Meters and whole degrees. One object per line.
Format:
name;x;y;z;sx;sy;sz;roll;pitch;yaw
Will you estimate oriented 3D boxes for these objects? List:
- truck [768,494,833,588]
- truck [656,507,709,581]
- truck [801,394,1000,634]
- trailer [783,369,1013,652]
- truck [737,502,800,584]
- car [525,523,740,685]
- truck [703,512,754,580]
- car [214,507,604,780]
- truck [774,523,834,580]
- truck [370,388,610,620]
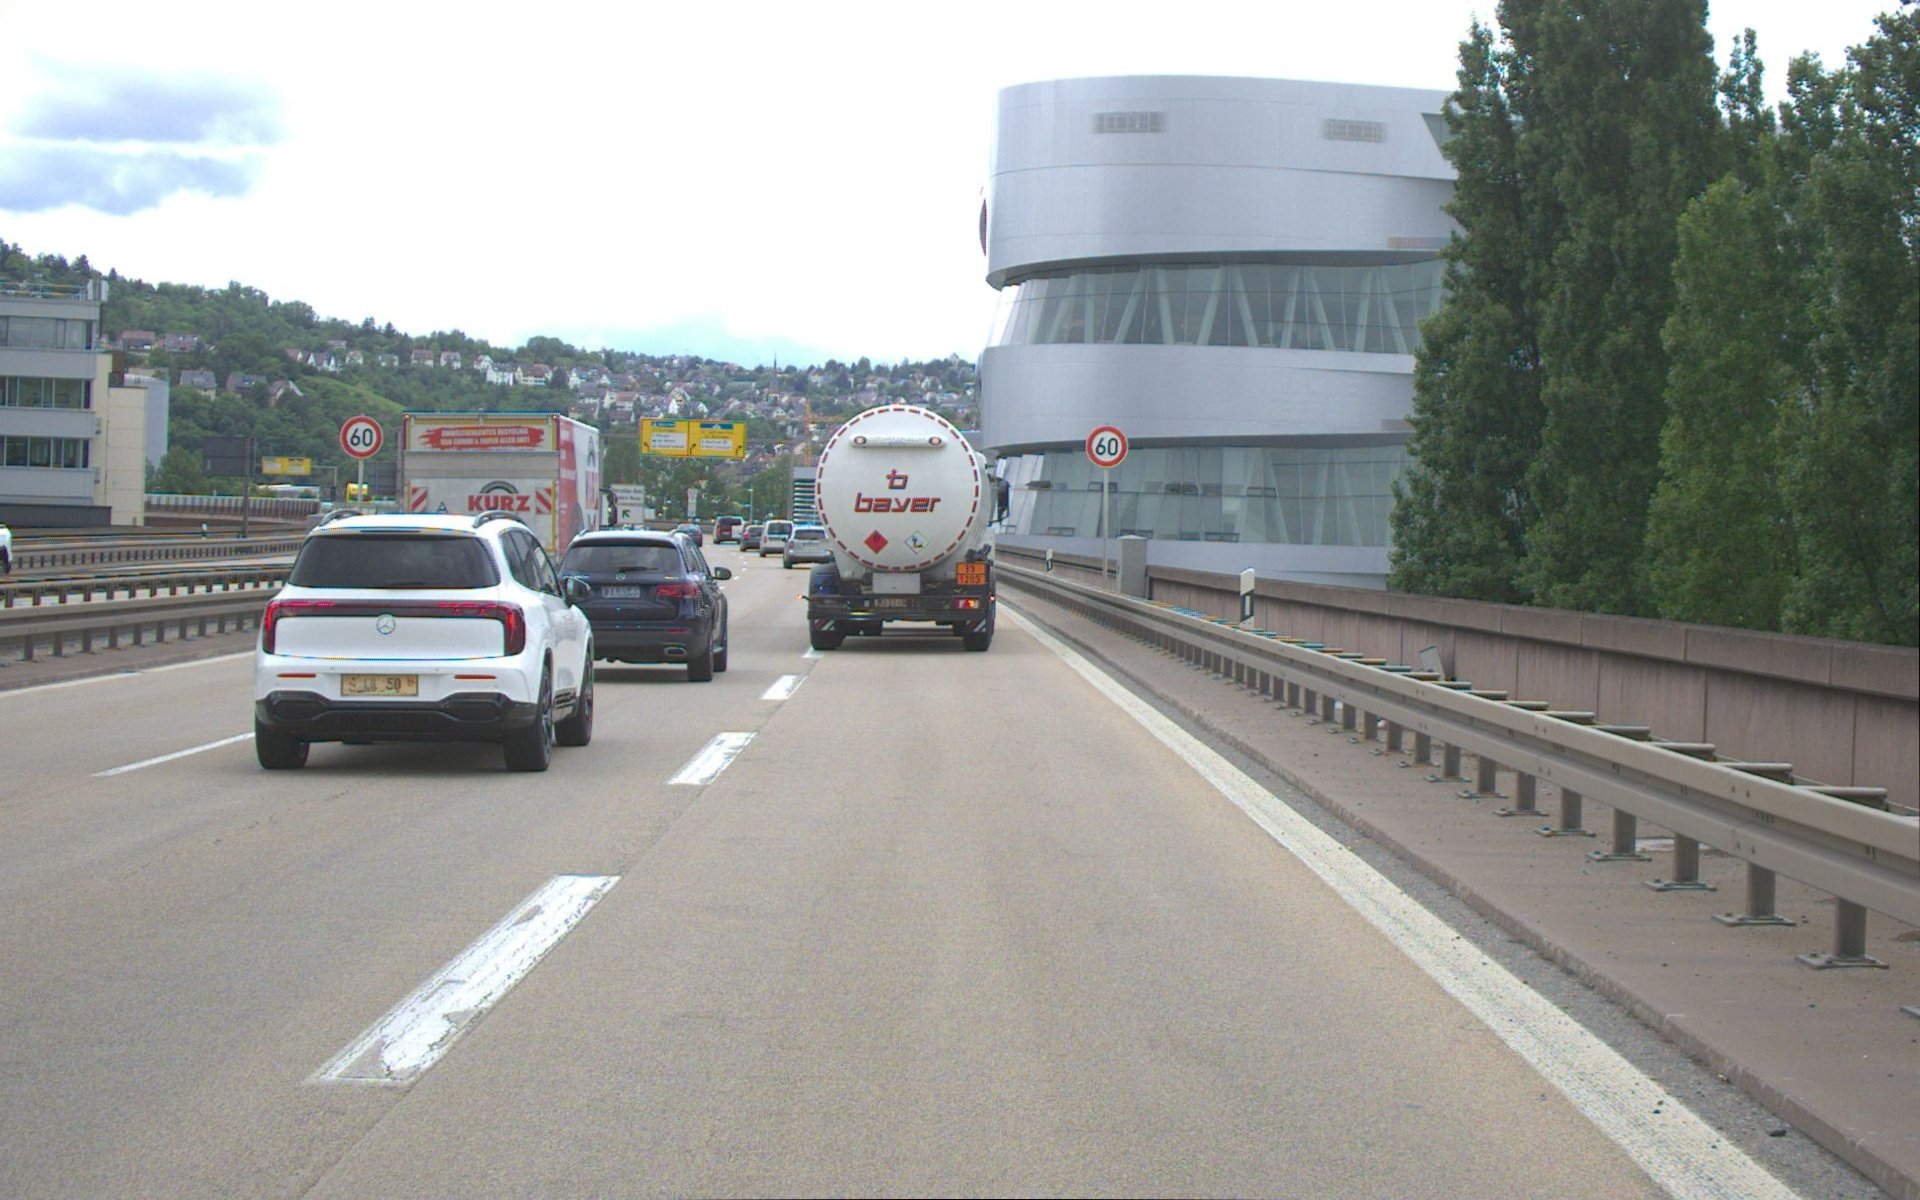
truck;-7.907;-2.925;171.221;3.057;4.546;8.304;1;1;-2
truck;-17.517;-3.524;216.539;3.056;4.546;8.305;1;1;-6
truck;-0.943;-1.356;55.969;3.014;3.644;6.273;1;1;0
trailer;-0.885;-1.258;50.589;3.057;3.777;8.304;1;1;-1
truck;-10.901;-3.210;194.970;3.056;4.546;8.305;1;1;-6
car;-3.571;0.016;38.156;1.993;1.669;4.408;1;1;-1
truck;-15.761;-3.671;233.807;3.056;4.546;8.305;1;1;-6
car;-3.649;0.248;23.561;1.993;1.669;4.408;1;1;-1
truck;-6.136;-1.912;135.751;2.255;2.156;5.069;1;1;-2
truck;-7.965;-1.595;59.348;3.057;3.678;8.304;1;1;-1
